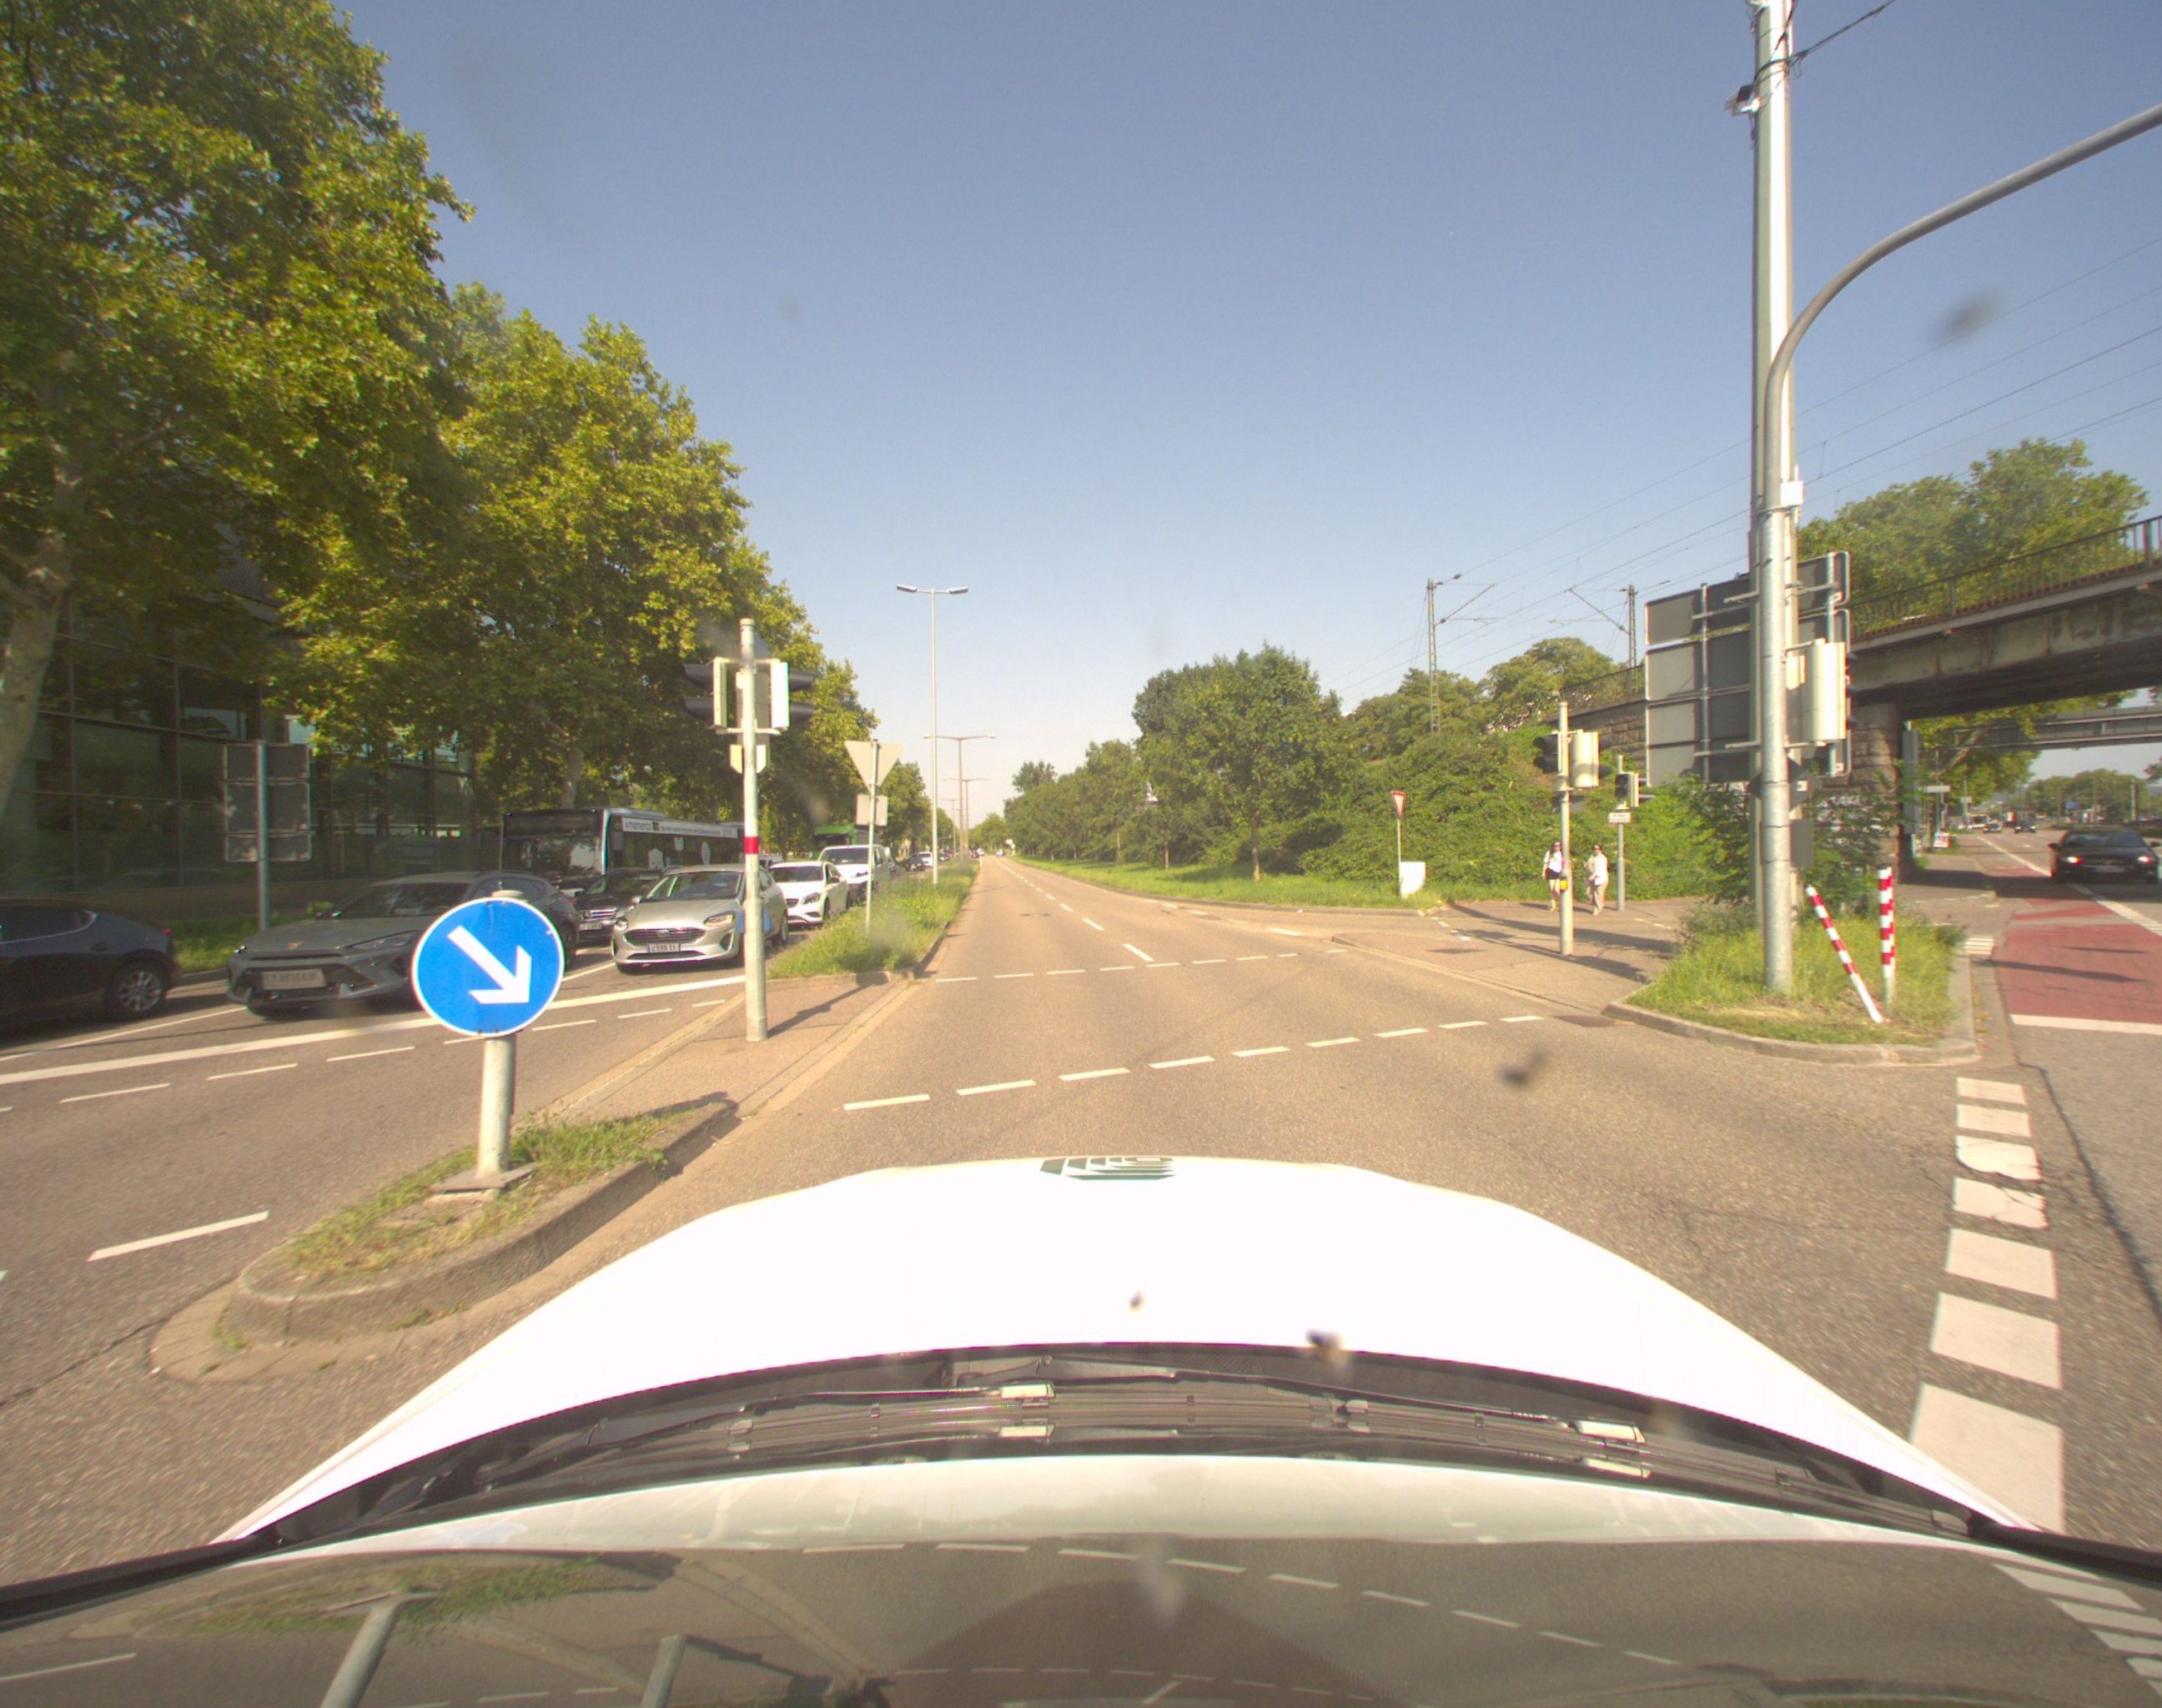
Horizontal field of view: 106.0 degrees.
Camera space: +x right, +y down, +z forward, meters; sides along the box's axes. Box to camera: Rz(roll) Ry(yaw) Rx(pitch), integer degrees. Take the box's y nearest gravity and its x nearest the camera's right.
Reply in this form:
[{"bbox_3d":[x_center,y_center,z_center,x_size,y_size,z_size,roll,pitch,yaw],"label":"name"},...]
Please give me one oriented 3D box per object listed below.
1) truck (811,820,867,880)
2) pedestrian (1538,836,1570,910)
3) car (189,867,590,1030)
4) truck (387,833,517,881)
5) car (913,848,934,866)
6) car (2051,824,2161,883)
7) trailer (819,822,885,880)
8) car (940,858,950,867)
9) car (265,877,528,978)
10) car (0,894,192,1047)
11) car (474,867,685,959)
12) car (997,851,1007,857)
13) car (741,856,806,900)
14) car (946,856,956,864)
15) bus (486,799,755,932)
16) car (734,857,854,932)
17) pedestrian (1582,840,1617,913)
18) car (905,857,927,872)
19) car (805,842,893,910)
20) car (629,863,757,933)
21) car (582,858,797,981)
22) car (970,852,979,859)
[{"bbox_3d":[-16.569,-0.222,56.172,2.605,3.819,5.876,-3,0,-7],"label":"truck"},{"bbox_3d":[10.910,0.436,18.810,0.564,1.681,0.495,-1,2,24],"label":"pedestrian"},{"bbox_3d":[-8.288,0.980,10.411,1.853,1.504,4.252,-2,0,-8],"label":"car"},{"bbox_3d":[-41.016,0.228,53.585,1.990,2.861,9.114,-1,0,-4],"label":"truck"},{"bbox_3d":[-18.348,0.341,95.180,1.992,1.953,5.023,-2,0,-7],"label":"car"},{"bbox_3d":[28.976,-0.055,23.096,4.216,1.533,1.849,-2,0,-40],"label":"car"},{"bbox_3d":[-17.339,-0.155,62.640,2.631,3.821,13.777,-3,0,-7],"label":"trailer"},{"bbox_3d":[-24.969,1.545,149.584,1.746,1.479,4.572,-3,0,-9],"label":"car"},{"bbox_3d":[-12.024,1.200,14.713,1.741,1.390,3.989,-1,0,-8],"label":"car"},{"bbox_3d":[-11.043,1.186,7.388,1.708,1.353,4.148,-3,0,-8],"label":"car"},{"bbox_3d":[-9.067,0.978,15.162,1.704,1.442,3.992,0,0,-5],"label":"car"},{"bbox_3d":[-20.186,0.069,208.208,1.787,1.510,4.001,-1,0,2],"label":"car"},{"bbox_3d":[-14.542,1.093,38.801,1.702,1.888,4.737,-3,0,-6],"label":"car"},{"bbox_3d":[-28.737,1.402,179.904,1.952,1.724,4.575,-2,0,-7],"label":"car"},{"bbox_3d":[-13.197,0.317,25.155,2.587,3.079,12.283,-1,0,-6],"label":"bus"},{"bbox_3d":[-6.283,0.817,18.256,1.708,1.402,4.072,-2,0,-8],"label":"car"},{"bbox_3d":[11.440,0.490,17.988,0.565,1.567,0.539,-1,-1,24],"label":"pedestrian"},{"bbox_3d":[-16.098,1.010,79.644,1.612,1.398,3.849,-3,0,-6],"label":"car"},{"bbox_3d":[-7.277,0.652,26.016,1.910,1.863,4.877,-3,0,-7],"label":"car"},{"bbox_3d":[-9.558,1.019,20.410,1.705,1.467,3.812,-3,0,-7],"label":"car"},{"bbox_3d":[-5.739,0.852,12.508,1.641,1.495,3.991,-3,0,-6],"label":"car"},{"bbox_3d":[-23.929,0.319,182.902,1.689,1.486,3.994,-1,0,-4],"label":"car"}]
